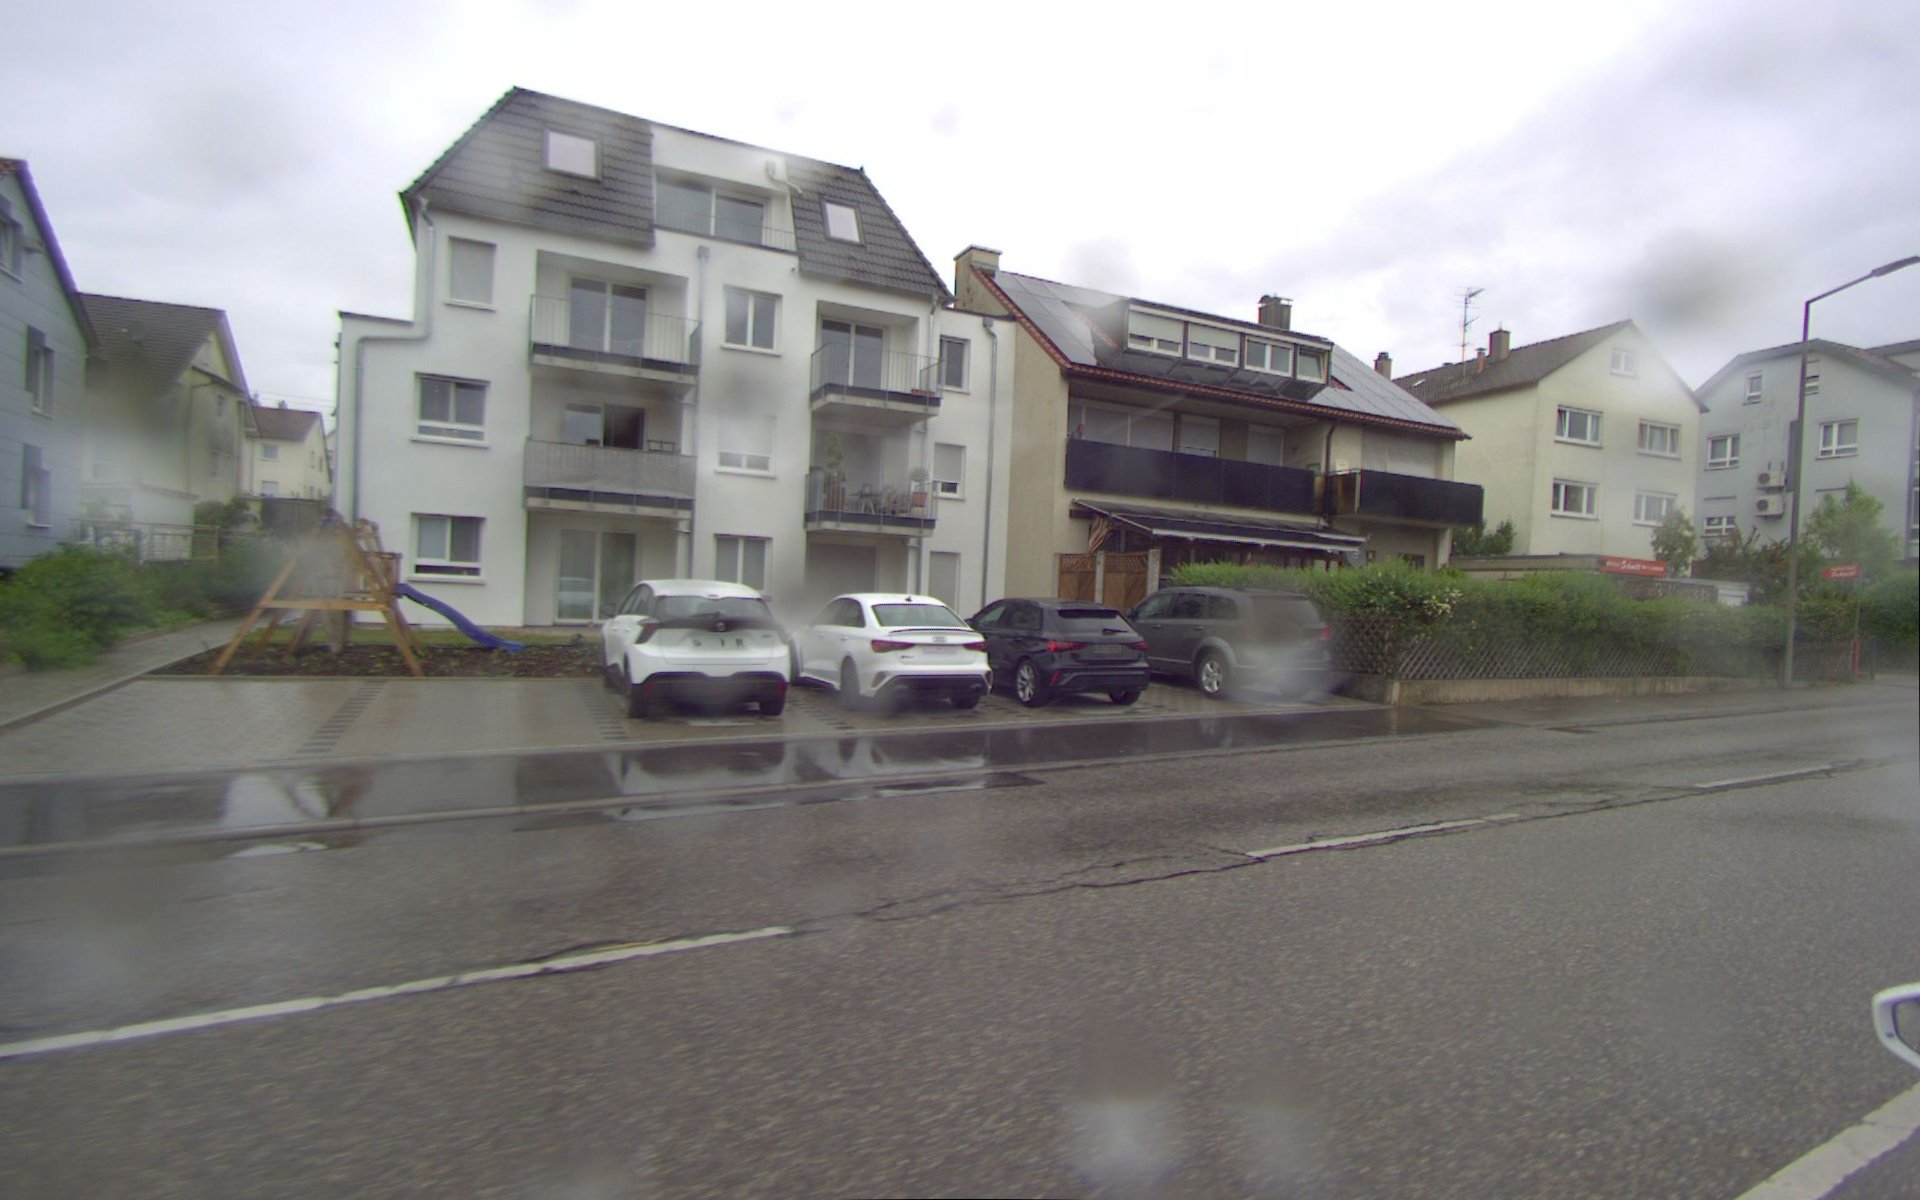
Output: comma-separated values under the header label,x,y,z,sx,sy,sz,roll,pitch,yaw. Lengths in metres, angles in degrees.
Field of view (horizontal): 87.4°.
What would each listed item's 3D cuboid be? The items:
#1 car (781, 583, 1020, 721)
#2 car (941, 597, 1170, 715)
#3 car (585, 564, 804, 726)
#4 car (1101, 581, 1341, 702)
label,x,y,z,sx,sy,sz,roll,pitch,yaw
car,-0.978,0.590,13.585,1.943,1.454,3.976,2,2,-23
car,1.235,0.730,14.804,1.681,1.465,3.978,2,0,-22
car,-3.486,0.438,12.597,1.930,1.606,4.086,2,2,-25
car,4.072,0.601,16.393,1.782,1.708,3.980,2,0,-21
